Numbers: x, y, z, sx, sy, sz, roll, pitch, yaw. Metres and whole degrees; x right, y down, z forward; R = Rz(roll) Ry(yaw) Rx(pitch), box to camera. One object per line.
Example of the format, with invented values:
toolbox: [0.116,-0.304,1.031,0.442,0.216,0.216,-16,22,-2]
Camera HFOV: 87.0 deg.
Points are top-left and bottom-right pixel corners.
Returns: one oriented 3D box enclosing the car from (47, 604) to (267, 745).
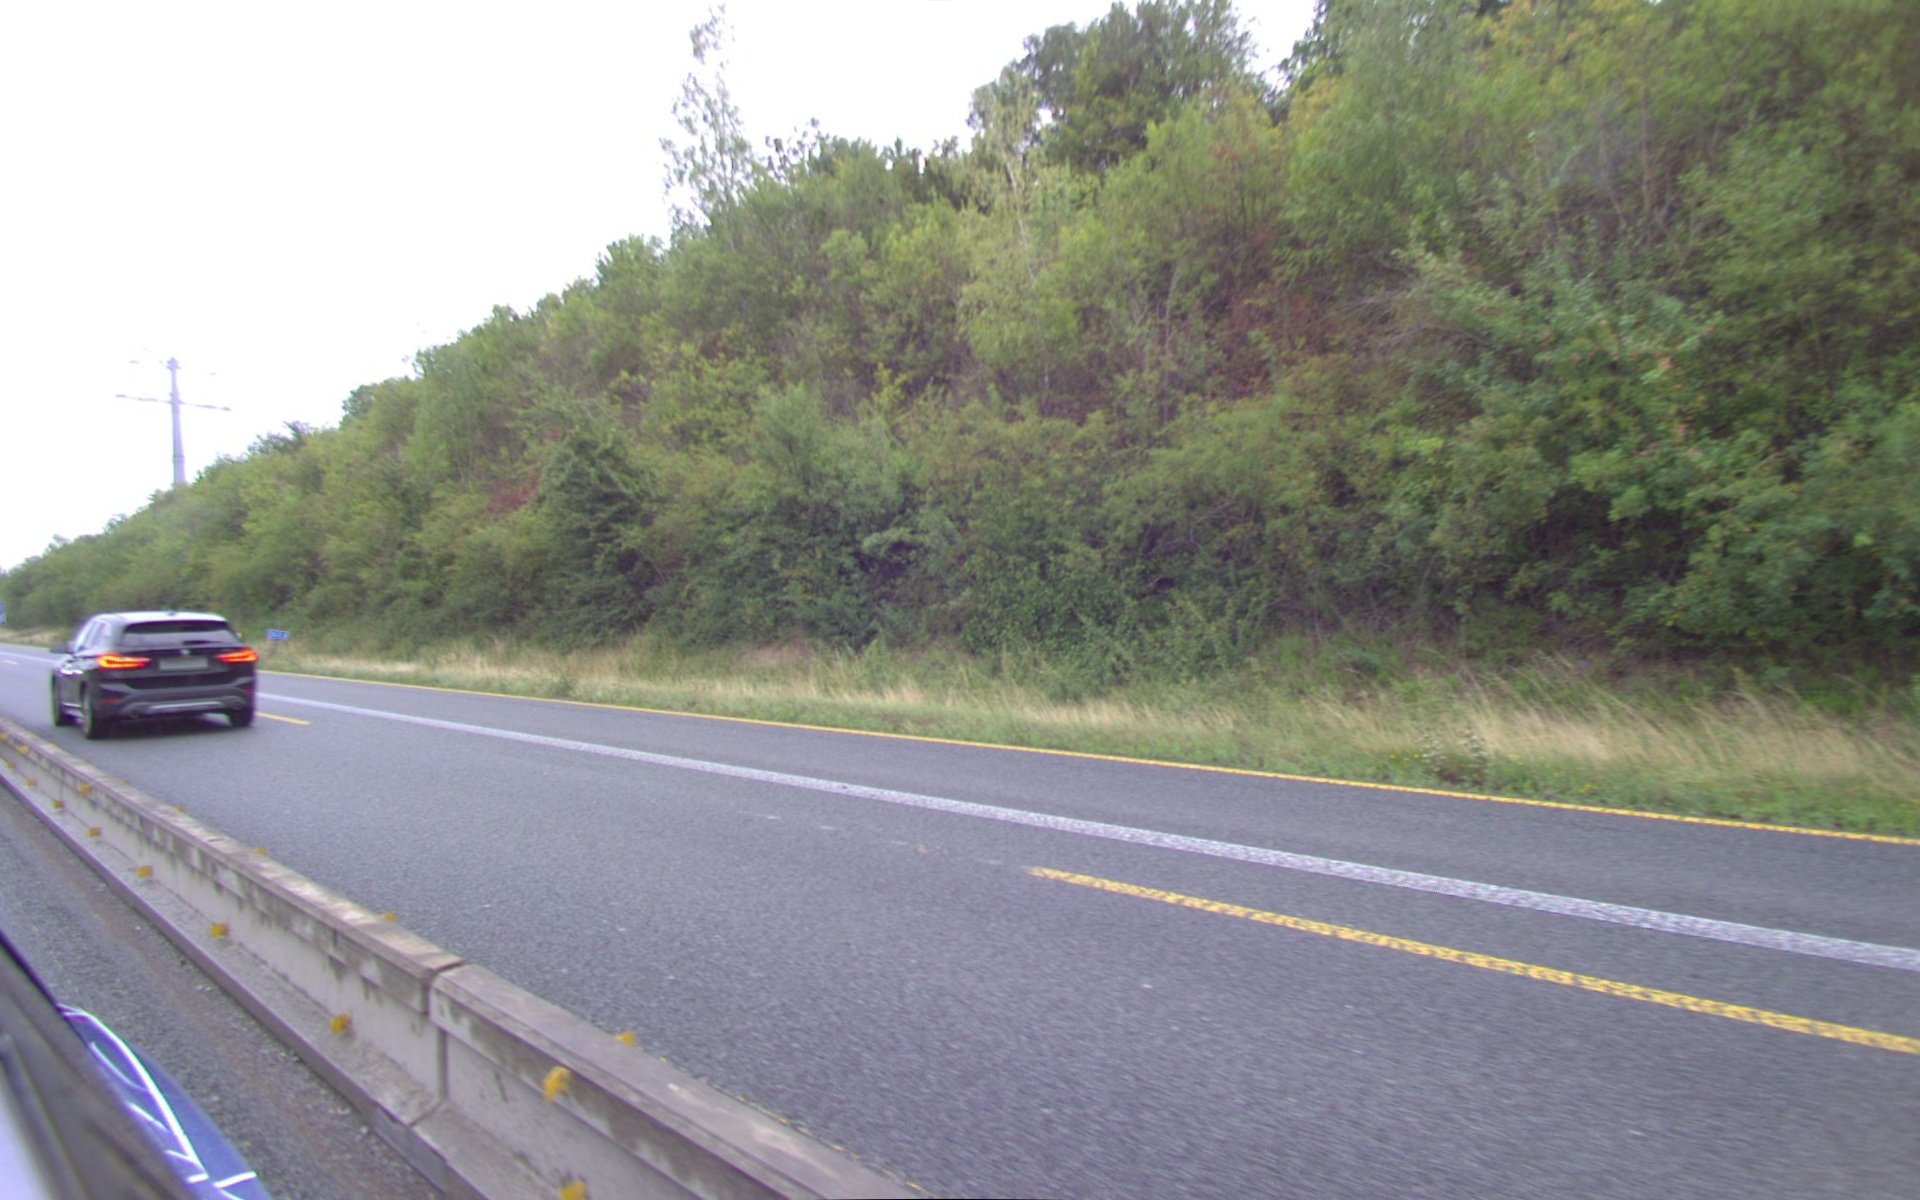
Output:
car: [-11.173,0.912,13.974,4.118,1.645,1.790,-1,-1,43]
